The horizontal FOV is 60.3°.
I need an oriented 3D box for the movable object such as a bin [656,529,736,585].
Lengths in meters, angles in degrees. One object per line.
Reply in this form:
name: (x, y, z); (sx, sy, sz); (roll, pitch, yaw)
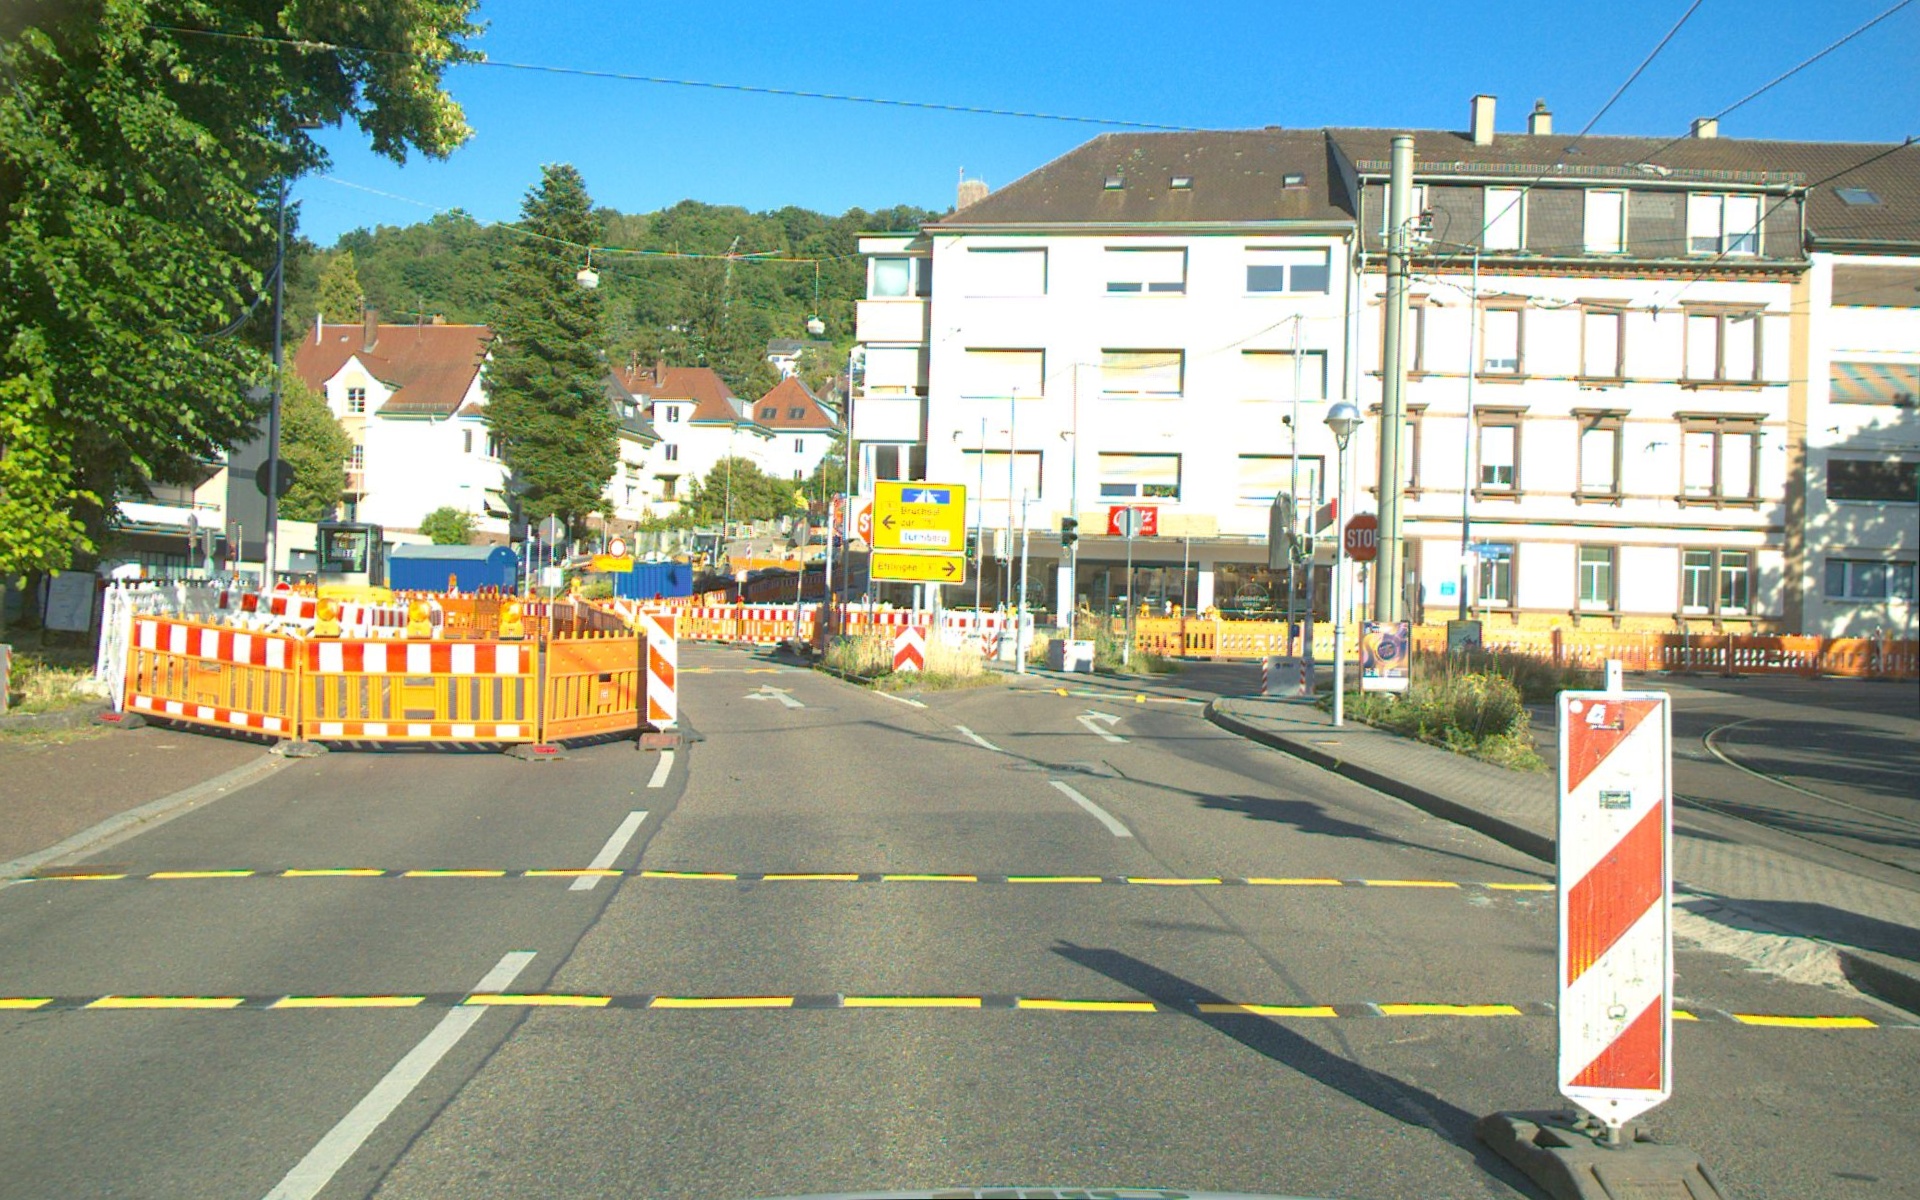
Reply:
movable object such as a bin: (-12.533, -2.011, 78.790); (1.907, 2.538, 4.554); (1, 0, 17)

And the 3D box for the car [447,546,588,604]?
car: (-17.504, -0.947, 65.884); (2.529, 2.158, 6.154); (1, 0, 17)

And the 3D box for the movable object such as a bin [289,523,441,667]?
movable object such as a bin: (-10.459, -0.095, 29.340); (1.615, 2.365, 3.916); (1, 0, -6)

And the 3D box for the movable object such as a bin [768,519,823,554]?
movable object such as a bin: (-11.375, -4.402, 114.740); (2.510, 2.159, 5.789); (1, 0, 8)
